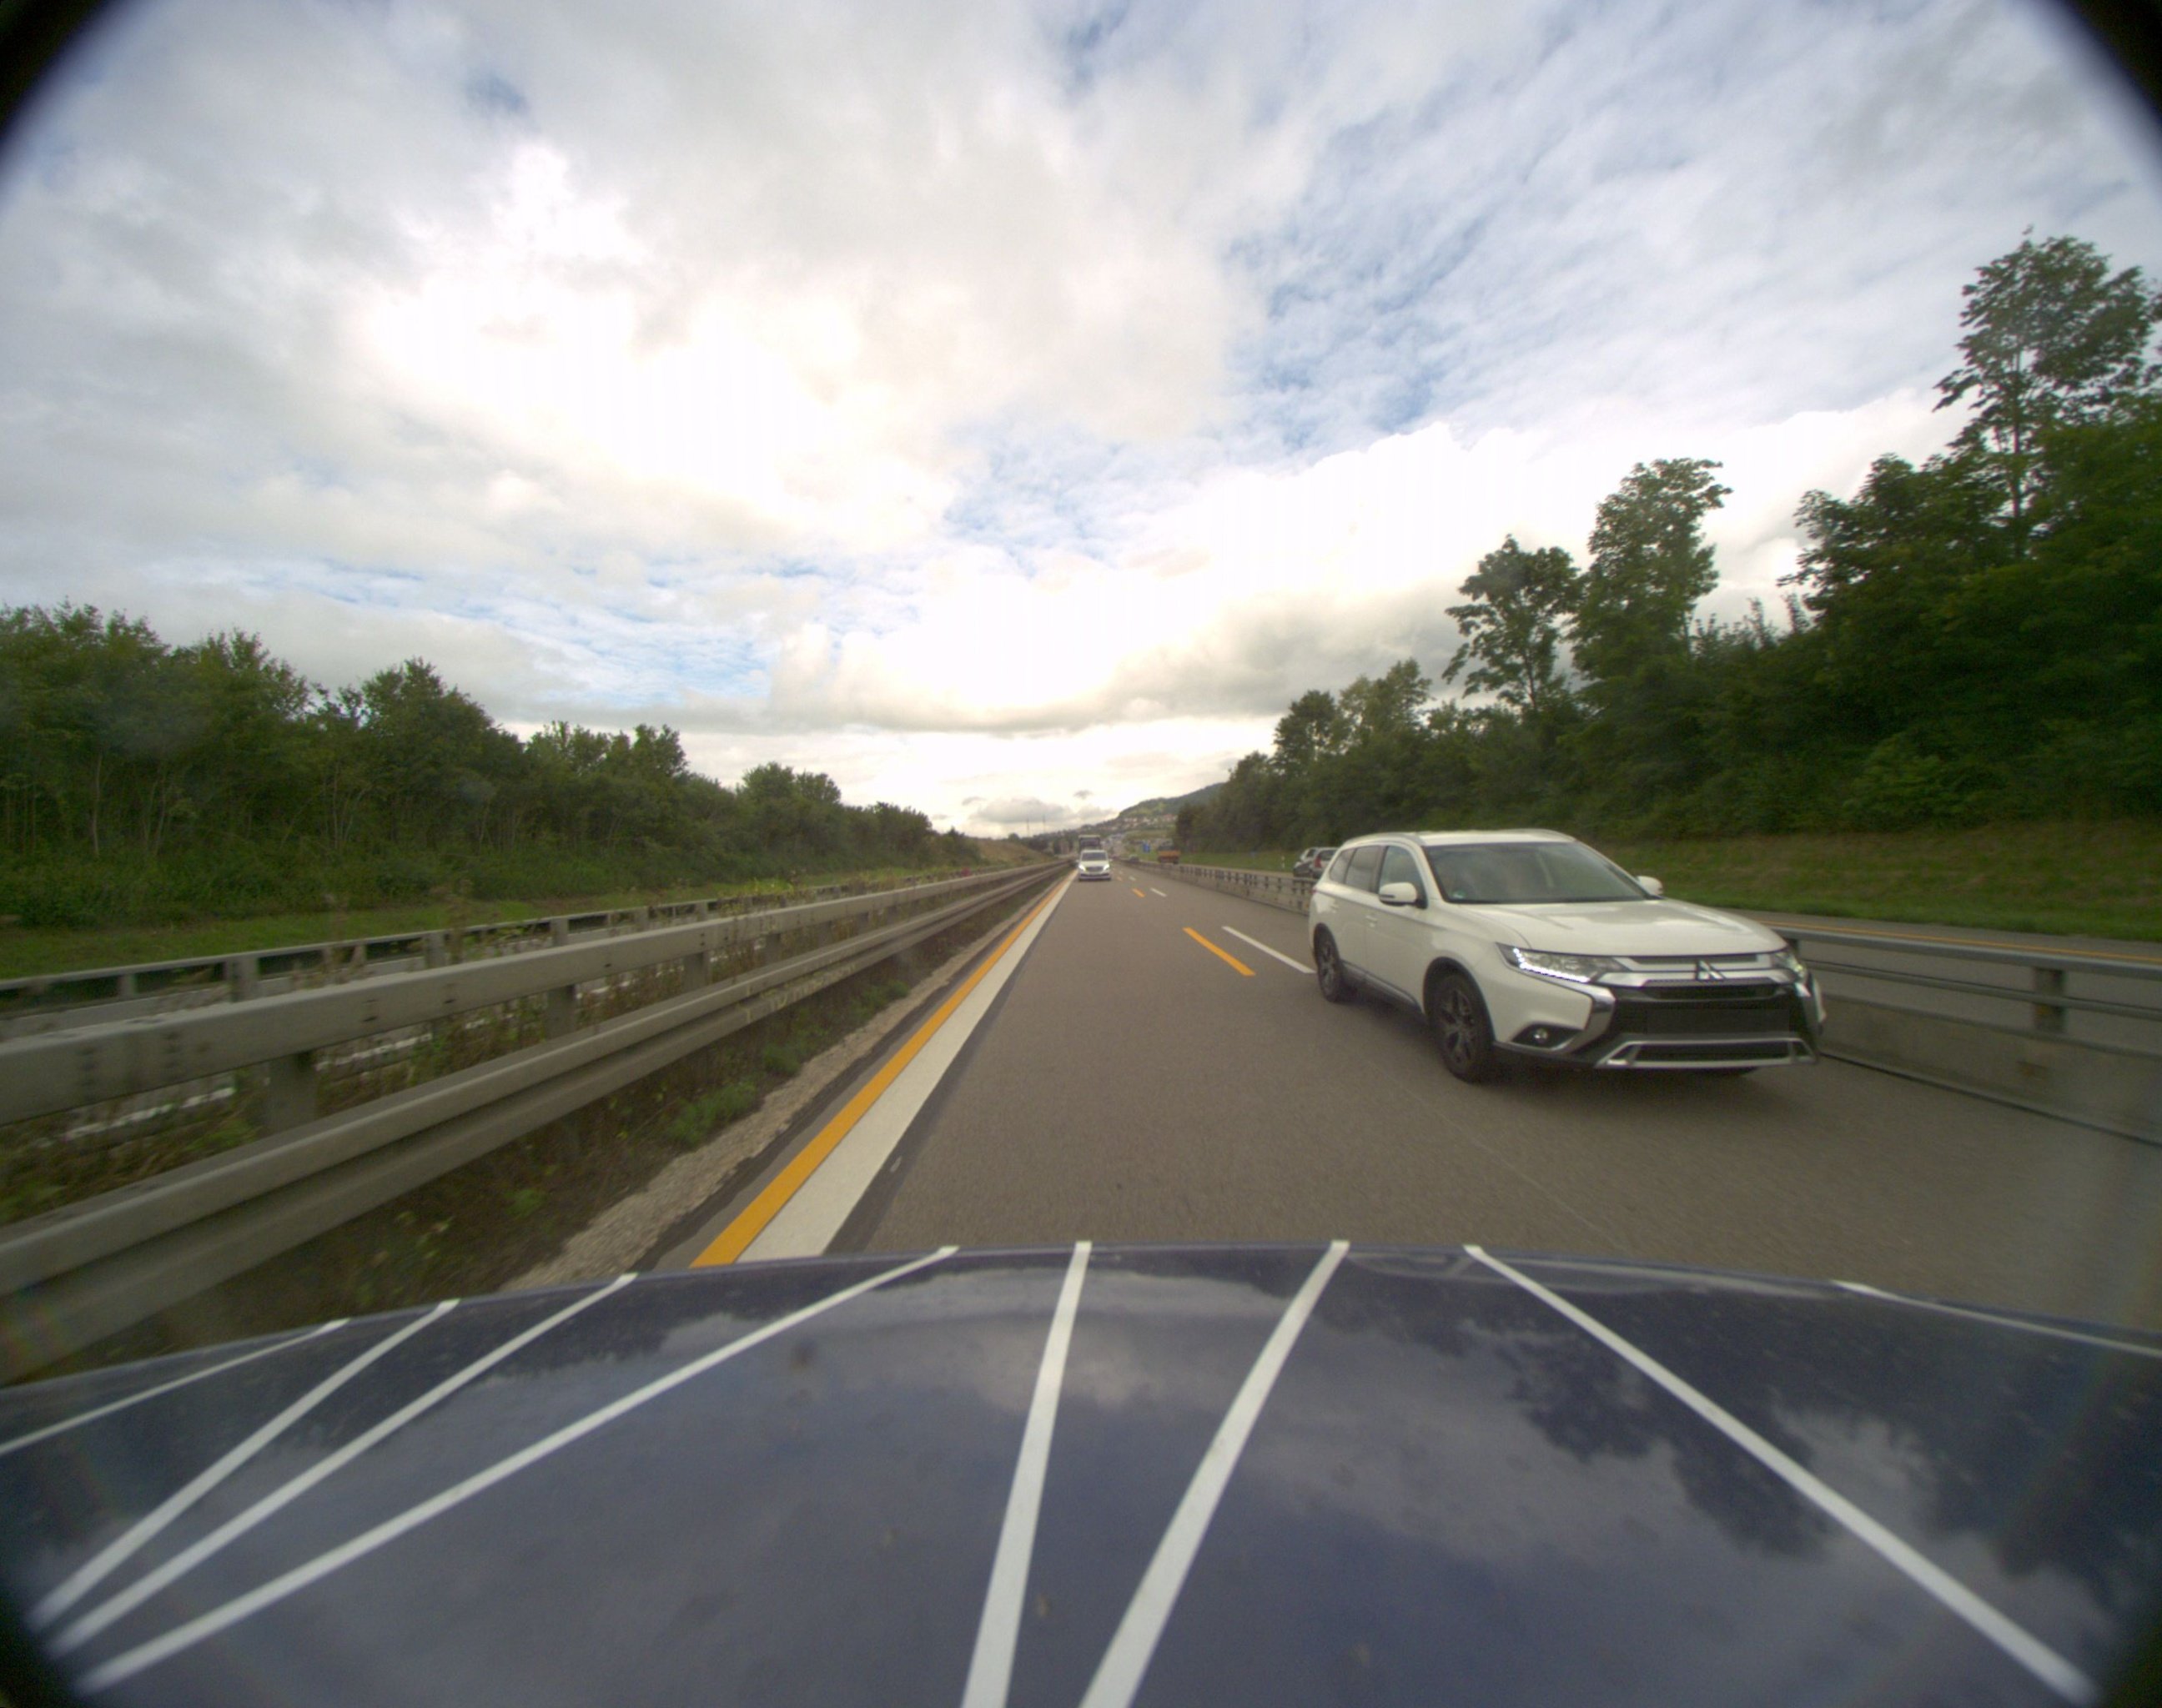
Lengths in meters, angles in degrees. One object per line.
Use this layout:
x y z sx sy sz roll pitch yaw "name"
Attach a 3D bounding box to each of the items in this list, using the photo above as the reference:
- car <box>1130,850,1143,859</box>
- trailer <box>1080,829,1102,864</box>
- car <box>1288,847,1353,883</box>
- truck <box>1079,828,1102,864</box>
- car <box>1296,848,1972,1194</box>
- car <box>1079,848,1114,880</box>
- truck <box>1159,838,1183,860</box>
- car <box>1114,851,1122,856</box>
9.783 0.043 133.424 1.998 1.498 4.832 -2 0 1 "car"
1.343 -0.966 96.543 2.521 4.081 11.113 -2 0 1 "trailer"
10.737 0.453 34.297 1.685 1.541 3.949 -1 0 1 "car"
1.214 -0.924 91.396 2.521 4.081 5.685 -2 1 1 "truck"
3.277 0.794 5.916 1.998 1.618 4.607 -1 0 2 "car"
0.938 0.547 46.138 1.990 1.787 4.586 -2 0 1 "car"
11.994 -0.645 101.750 2.496 2.702 6.667 -2 0 1 "truck"
10.314 -0.119 210.447 1.939 1.482 4.589 -3 0 1 "car"
